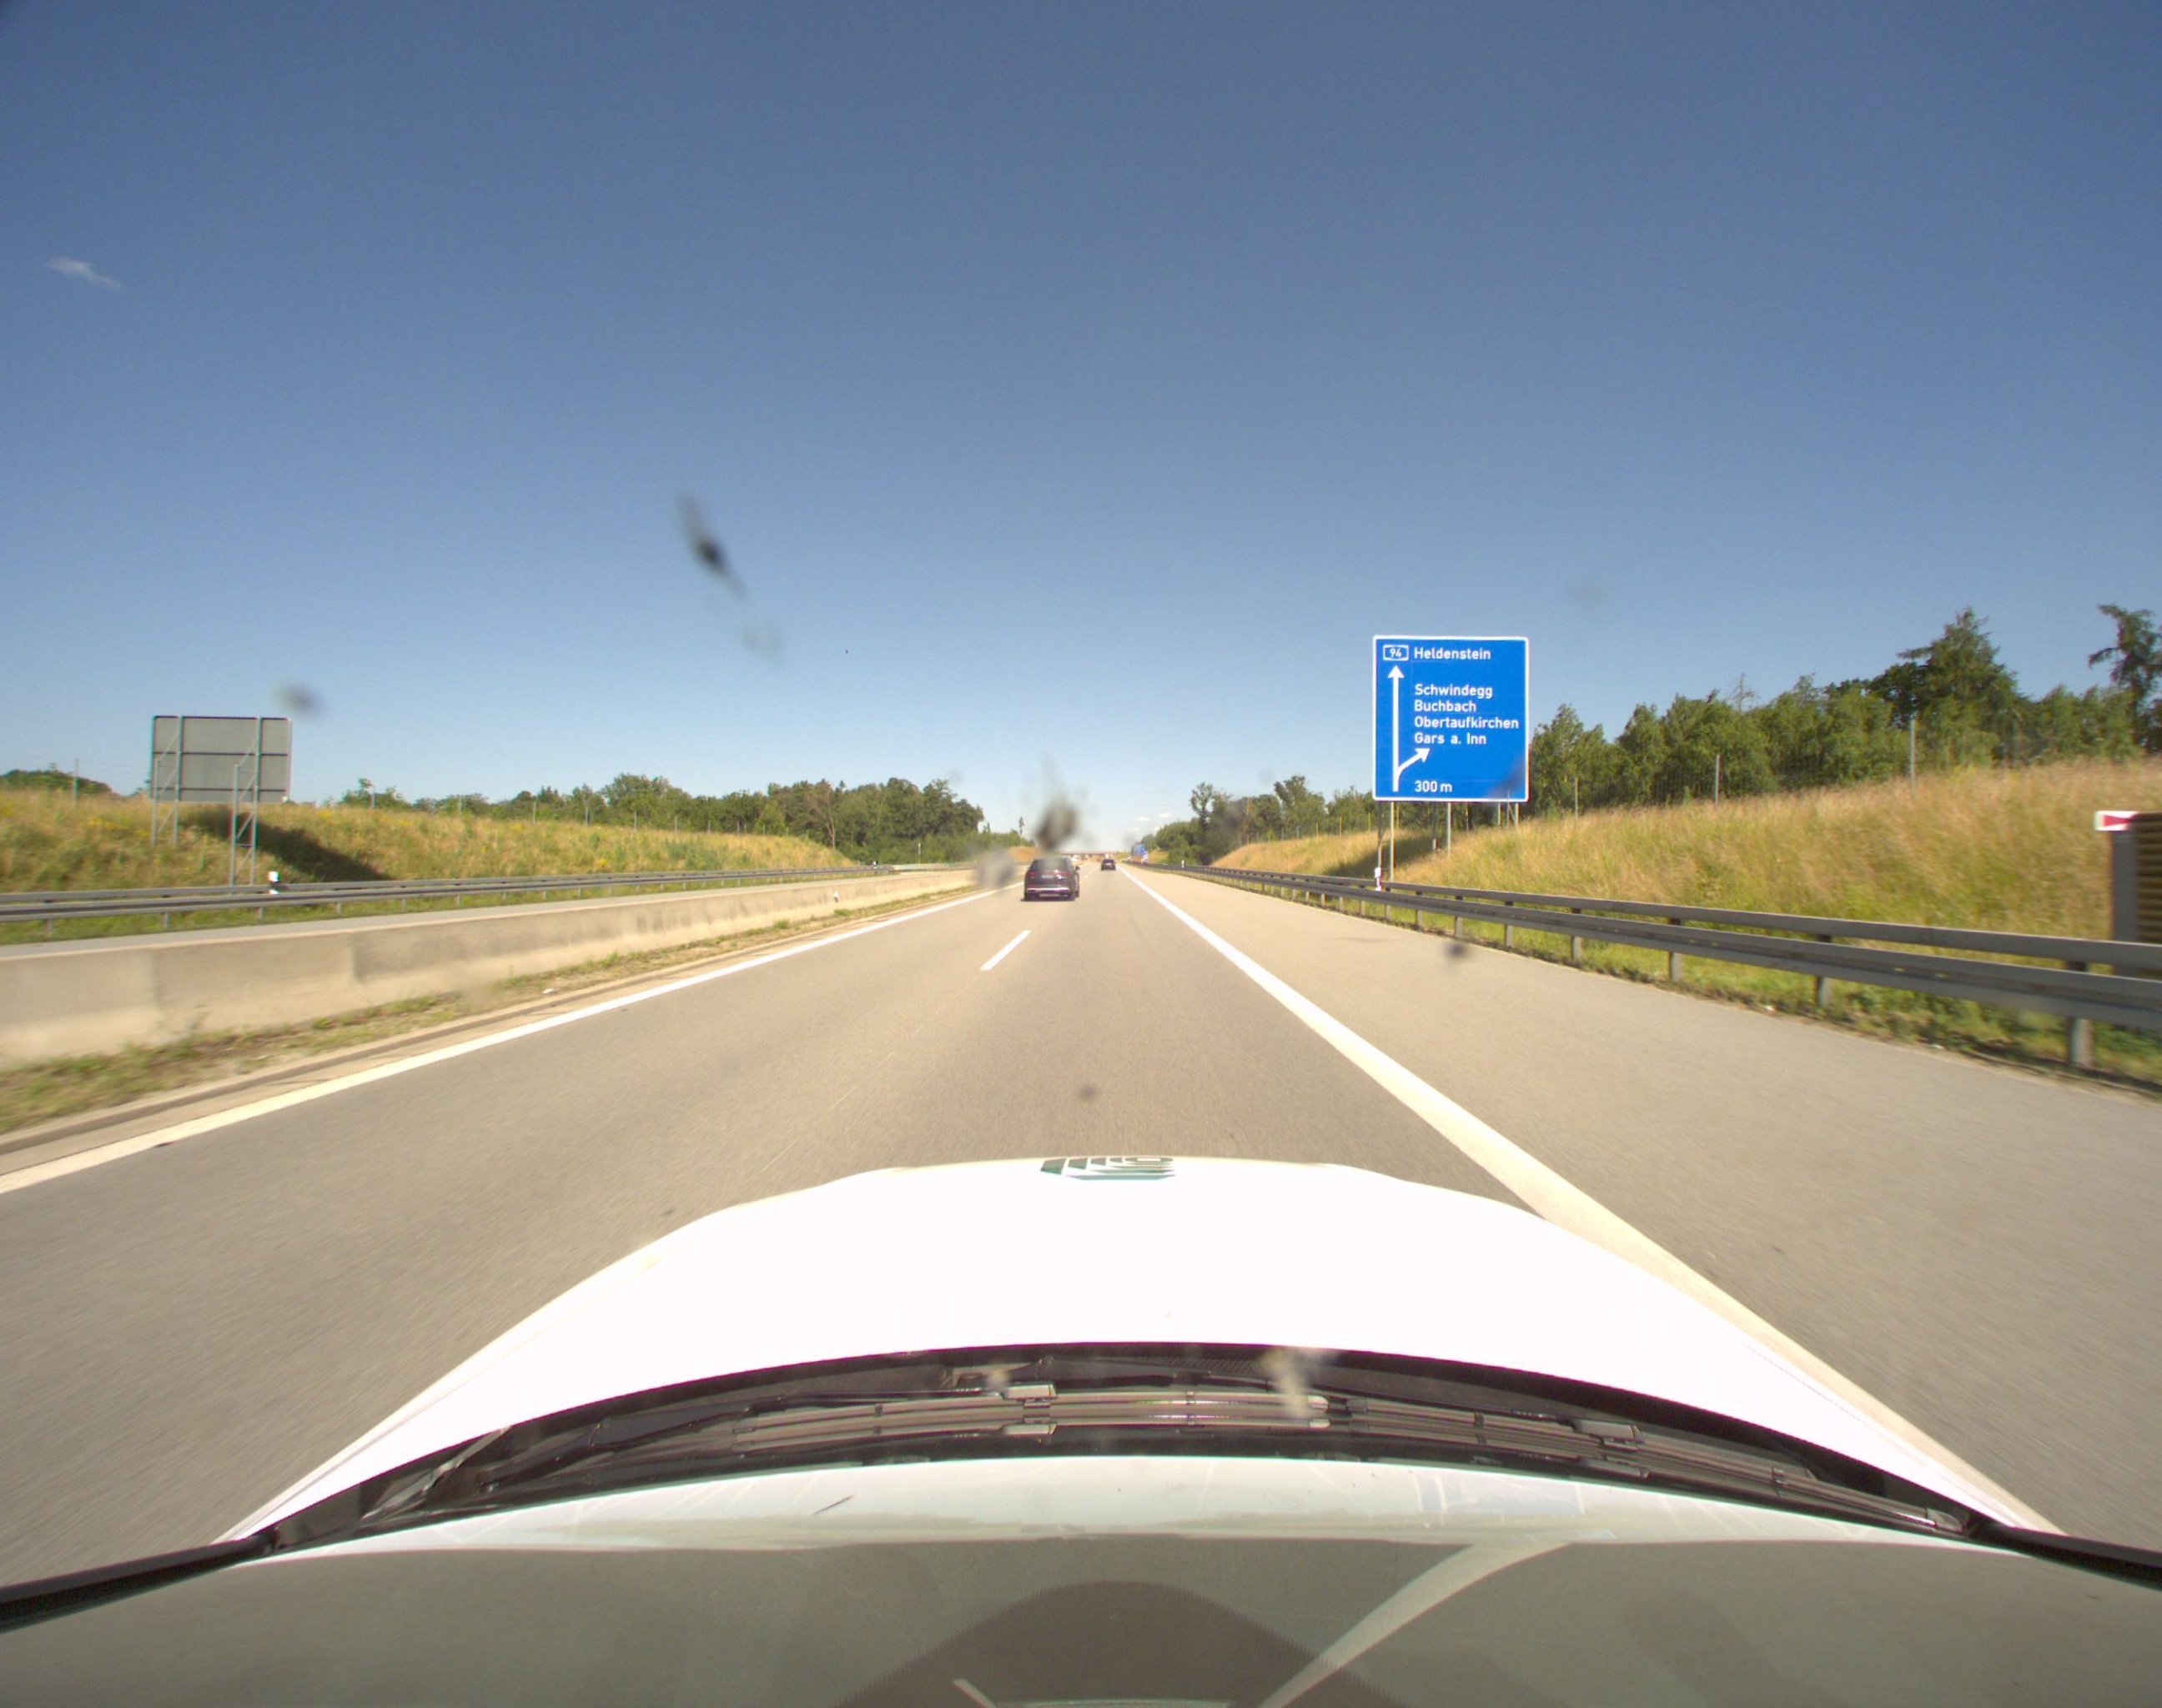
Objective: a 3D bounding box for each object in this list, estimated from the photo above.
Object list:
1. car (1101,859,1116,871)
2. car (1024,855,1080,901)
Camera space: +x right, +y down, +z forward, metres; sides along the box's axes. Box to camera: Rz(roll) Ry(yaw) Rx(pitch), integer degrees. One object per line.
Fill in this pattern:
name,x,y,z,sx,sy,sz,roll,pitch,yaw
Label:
car,3.335,1.248,97.583,1.783,1.374,3.919,0,0,2
car,-1.008,0.835,30.809,1.715,1.587,5.225,0,0,2
